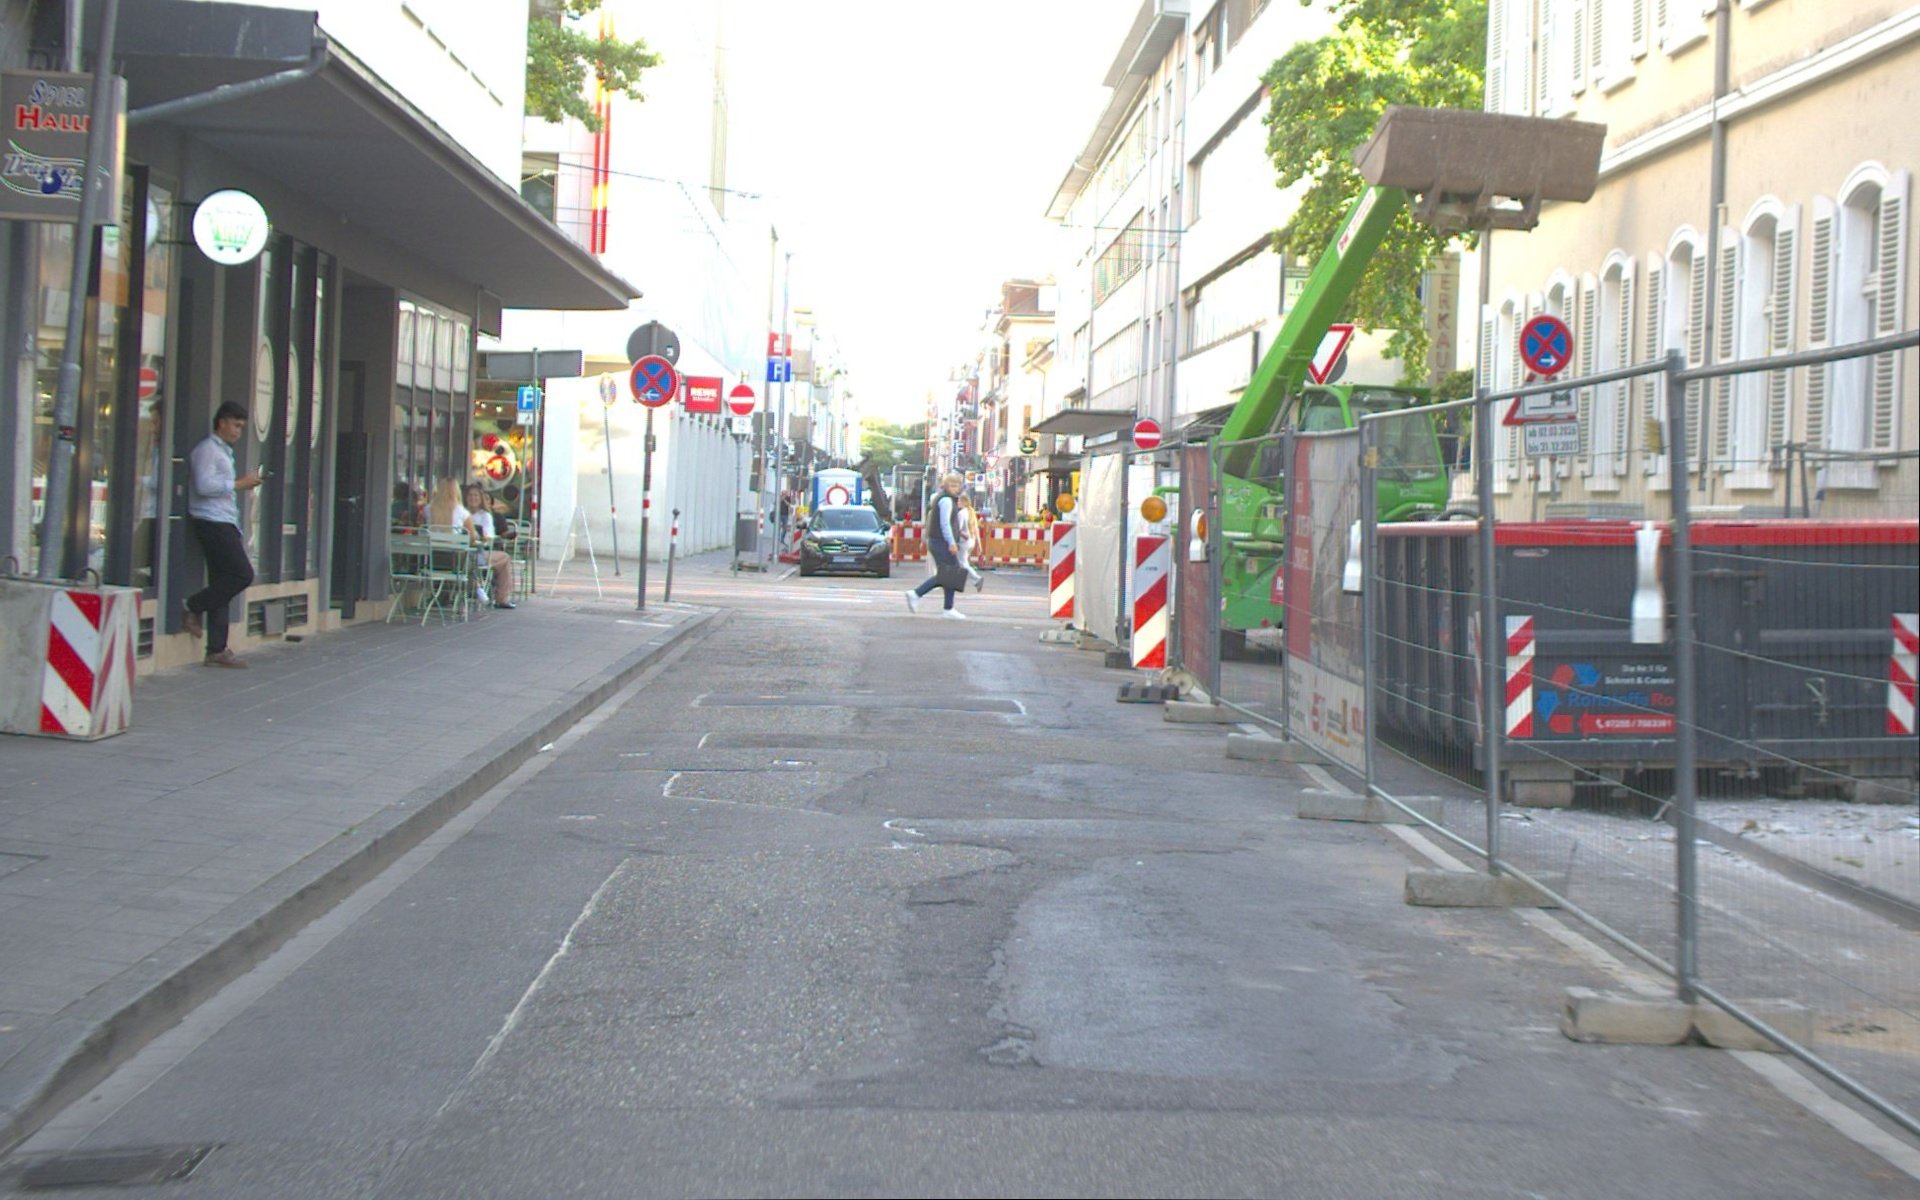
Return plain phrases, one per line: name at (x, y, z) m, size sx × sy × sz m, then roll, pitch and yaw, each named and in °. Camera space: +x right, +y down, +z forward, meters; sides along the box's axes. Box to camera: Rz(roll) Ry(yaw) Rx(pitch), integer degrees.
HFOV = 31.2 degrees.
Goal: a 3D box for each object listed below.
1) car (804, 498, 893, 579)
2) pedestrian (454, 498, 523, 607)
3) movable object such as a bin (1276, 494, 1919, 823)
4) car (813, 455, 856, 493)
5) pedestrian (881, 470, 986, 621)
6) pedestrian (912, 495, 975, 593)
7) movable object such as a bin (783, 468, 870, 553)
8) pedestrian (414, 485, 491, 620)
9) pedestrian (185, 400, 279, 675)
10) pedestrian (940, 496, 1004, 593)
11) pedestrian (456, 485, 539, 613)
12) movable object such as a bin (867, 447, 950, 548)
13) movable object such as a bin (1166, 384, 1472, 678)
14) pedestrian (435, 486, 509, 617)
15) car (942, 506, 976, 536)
car at (-2.288, -1.267, 69.818) m, size 1.629 × 1.545 × 3.143 m, roll 1°, pitch 2°, yaw -4°
pedestrian at (-5.019, -0.507, 36.628) m, size 0.573 × 1.110 × 0.714 m, roll 4°, pitch 2°, yaw -1°
movable object such as a bin at (3.907, 0.208, 21.964) m, size 2.735 × 1.633 × 7.554 m, roll 3°, pitch 2°, yaw -2°
car at (-5.997, -6.035, 164.674) m, size 1.993 × 1.770 × 4.001 m, roll 1°, pitch 2°, yaw -1°
pedestrian at (-0.327, -0.679, 42.548) m, size 1.071 × 1.828 × 0.698 m, roll 1°, pitch 2°, yaw -22°
pedestrian at (-0.280, -0.938, 57.713) m, size 0.610 × 1.622 × 0.873 m, roll 0°, pitch 2°, yaw -42°
movable object such as a bin at (-3.268, -2.211, 84.945) m, size 1.993 × 2.006 × 4.000 m, roll 1°, pitch 2°, yaw -1°
pedestrian at (-4.967, -0.473, 33.667) m, size 0.573 × 1.271 × 0.714 m, roll 4°, pitch 2°, yaw -1°
pedestrian at (-4.932, -0.426, 23.309) m, size 0.530 × 1.828 × 0.563 m, roll 2°, pitch 2°, yaw -7°
pedestrian at (0.199, -0.940, 58.155) m, size 0.610 × 1.622 × 0.873 m, roll 0°, pitch 2°, yaw -42°
pedestrian at (-4.802, -0.539, 35.713) m, size 0.702 × 1.271 × 0.714 m, roll 4°, pitch 2°, yaw -1°
movable object such as a bin at (-1.440, -2.834, 95.183) m, size 2.156 × 2.654 × 4.573 m, roll 2°, pitch 1°, yaw -1°
movable object such as a bin at (3.657, -0.743, 36.018) m, size 2.605 × 2.829 × 4.450 m, roll 1°, pitch 2°, yaw -1°
pedestrian at (-4.922, -0.498, 34.707) m, size 0.573 × 1.271 × 0.714 m, roll 4°, pitch 2°, yaw -1°
car at (-0.061, -4.812, 208.832) m, size 1.993 × 1.770 × 4.001 m, roll 1°, pitch 2°, yaw -1°
